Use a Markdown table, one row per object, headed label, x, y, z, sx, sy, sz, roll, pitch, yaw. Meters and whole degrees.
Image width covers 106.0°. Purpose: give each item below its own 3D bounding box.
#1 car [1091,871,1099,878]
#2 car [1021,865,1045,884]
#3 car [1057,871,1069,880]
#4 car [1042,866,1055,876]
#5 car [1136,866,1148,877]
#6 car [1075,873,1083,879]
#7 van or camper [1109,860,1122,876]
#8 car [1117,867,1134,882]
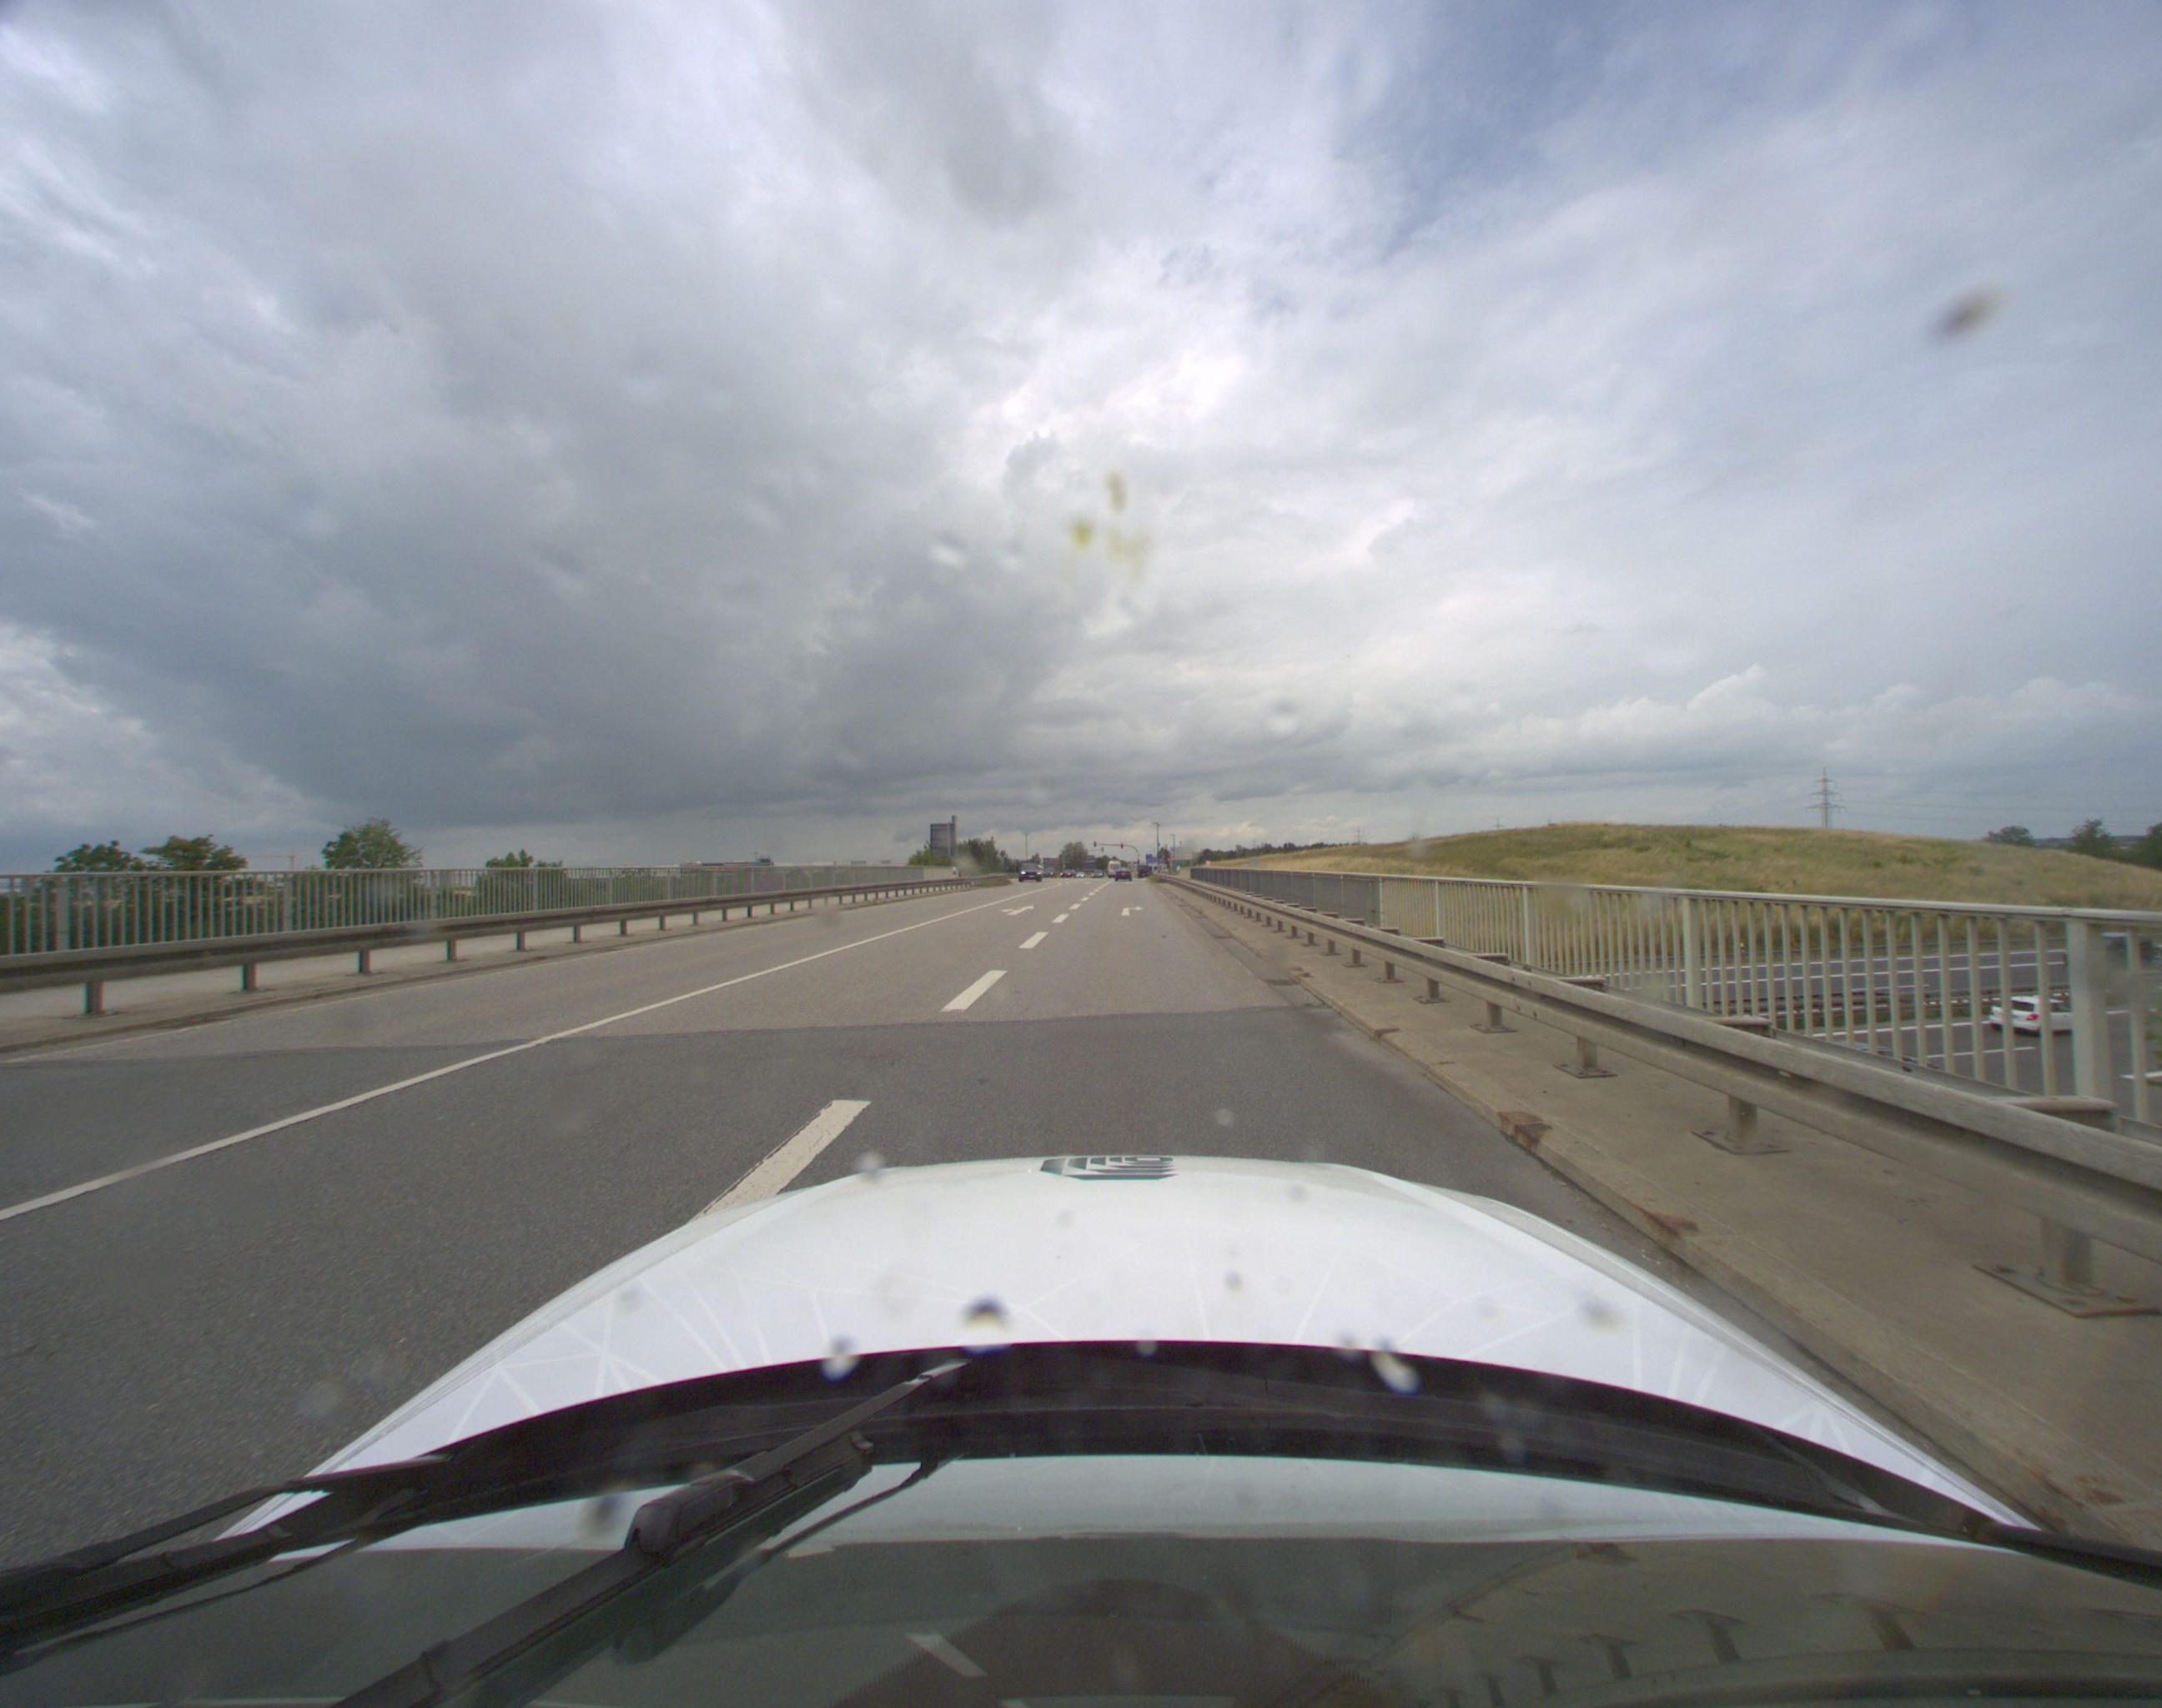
| label | x | y | z | sx | sy | sz | roll | pitch | yaw |
| --- | --- | --- | --- | --- | --- | --- | --- | --- | --- |
| car | 3.189 | 4.594 | 185.837 | 1.687 | 1.368 | 3.945 | 0 | 2 | 2 |
| car | -4.478 | 1.910 | 76.755 | 1.987 | 1.732 | 4.760 | 2 | -1 | 0 |
| car | -3.186 | 3.738 | 144.389 | 1.802 | 1.368 | 4.788 | 0 | 1 | 2 |
| car | -5.113 | 2.732 | 129.240 | 1.575 | 1.558 | 4.151 | 0 | -1 | 5 |
| car | 9.171 | 2.598 | 121.620 | 1.673 | 1.544 | 3.621 | -1 | -1 | 6 |
| car | -0.527 | 5.039 | 186.623 | 1.474 | 1.282 | 3.537 | -1 | -1 | 4 |
| van or camper | 5.410 | 2.190 | 126.987 | 1.868 | 2.581 | 4.003 | 1 | -1 | 3 |
| car | 4.470 | 2.034 | 82.092 | 1.510 | 1.485 | 3.621 | -1 | -1 | 6 |
